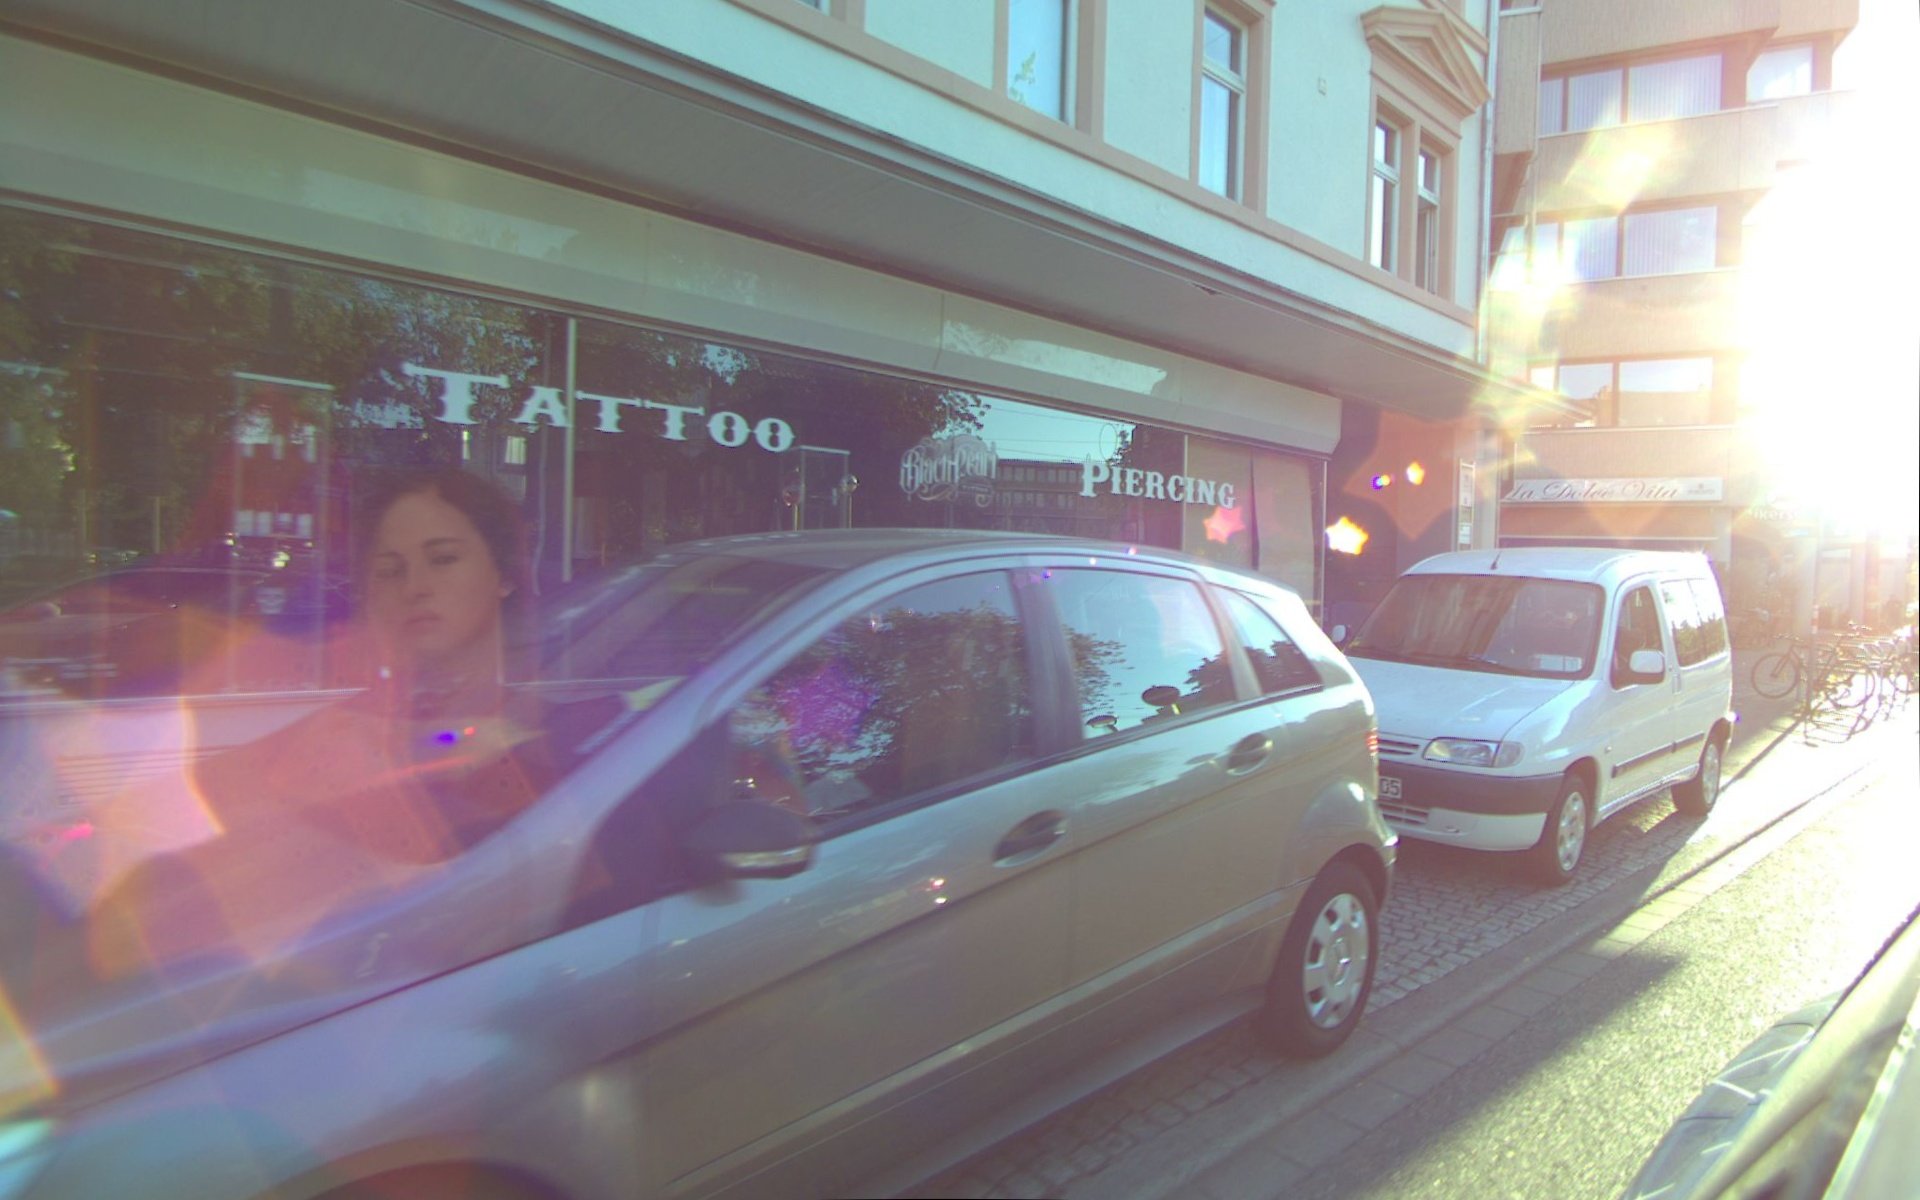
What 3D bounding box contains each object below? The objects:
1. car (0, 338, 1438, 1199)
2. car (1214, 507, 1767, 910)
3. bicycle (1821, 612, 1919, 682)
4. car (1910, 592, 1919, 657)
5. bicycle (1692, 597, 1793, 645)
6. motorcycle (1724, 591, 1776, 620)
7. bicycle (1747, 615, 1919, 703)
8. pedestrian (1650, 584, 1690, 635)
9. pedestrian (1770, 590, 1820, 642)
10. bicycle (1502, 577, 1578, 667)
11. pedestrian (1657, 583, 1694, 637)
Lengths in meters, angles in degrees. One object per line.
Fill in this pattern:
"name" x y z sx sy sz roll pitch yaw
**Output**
"car" -0.407 0.554 2.778 4.036 1.686 1.659 0 0 -41
"car" 3.604 0.460 6.553 4.020 1.814 1.796 0 1 -41
"bicycle" 15.327 0.771 16.598 0.530 1.002 1.798 4 2 -14
"car" 24.646 0.606 24.614 3.850 1.527 1.794 1 0 -40
"bicycle" 18.981 0.494 24.581 1.862 1.017 0.457 3 2 12
"motorcycle" 37.584 0.244 48.172 0.655 1.309 1.801 1 1 -25
"bicycle" 12.193 0.790 14.180 0.530 1.002 1.798 3 2 -18
"pedestrian" 18.404 0.244 26.230 0.528 1.294 0.706 1 2 -40
"pedestrian" 21.999 0.402 26.677 0.752 1.314 0.707 2 0 15
"bicycle" 9.468 0.325 16.574 0.408 1.291 1.663 1 4 7
"pedestrian" 18.065 0.247 25.557 0.639 1.312 0.696 4 2 41
